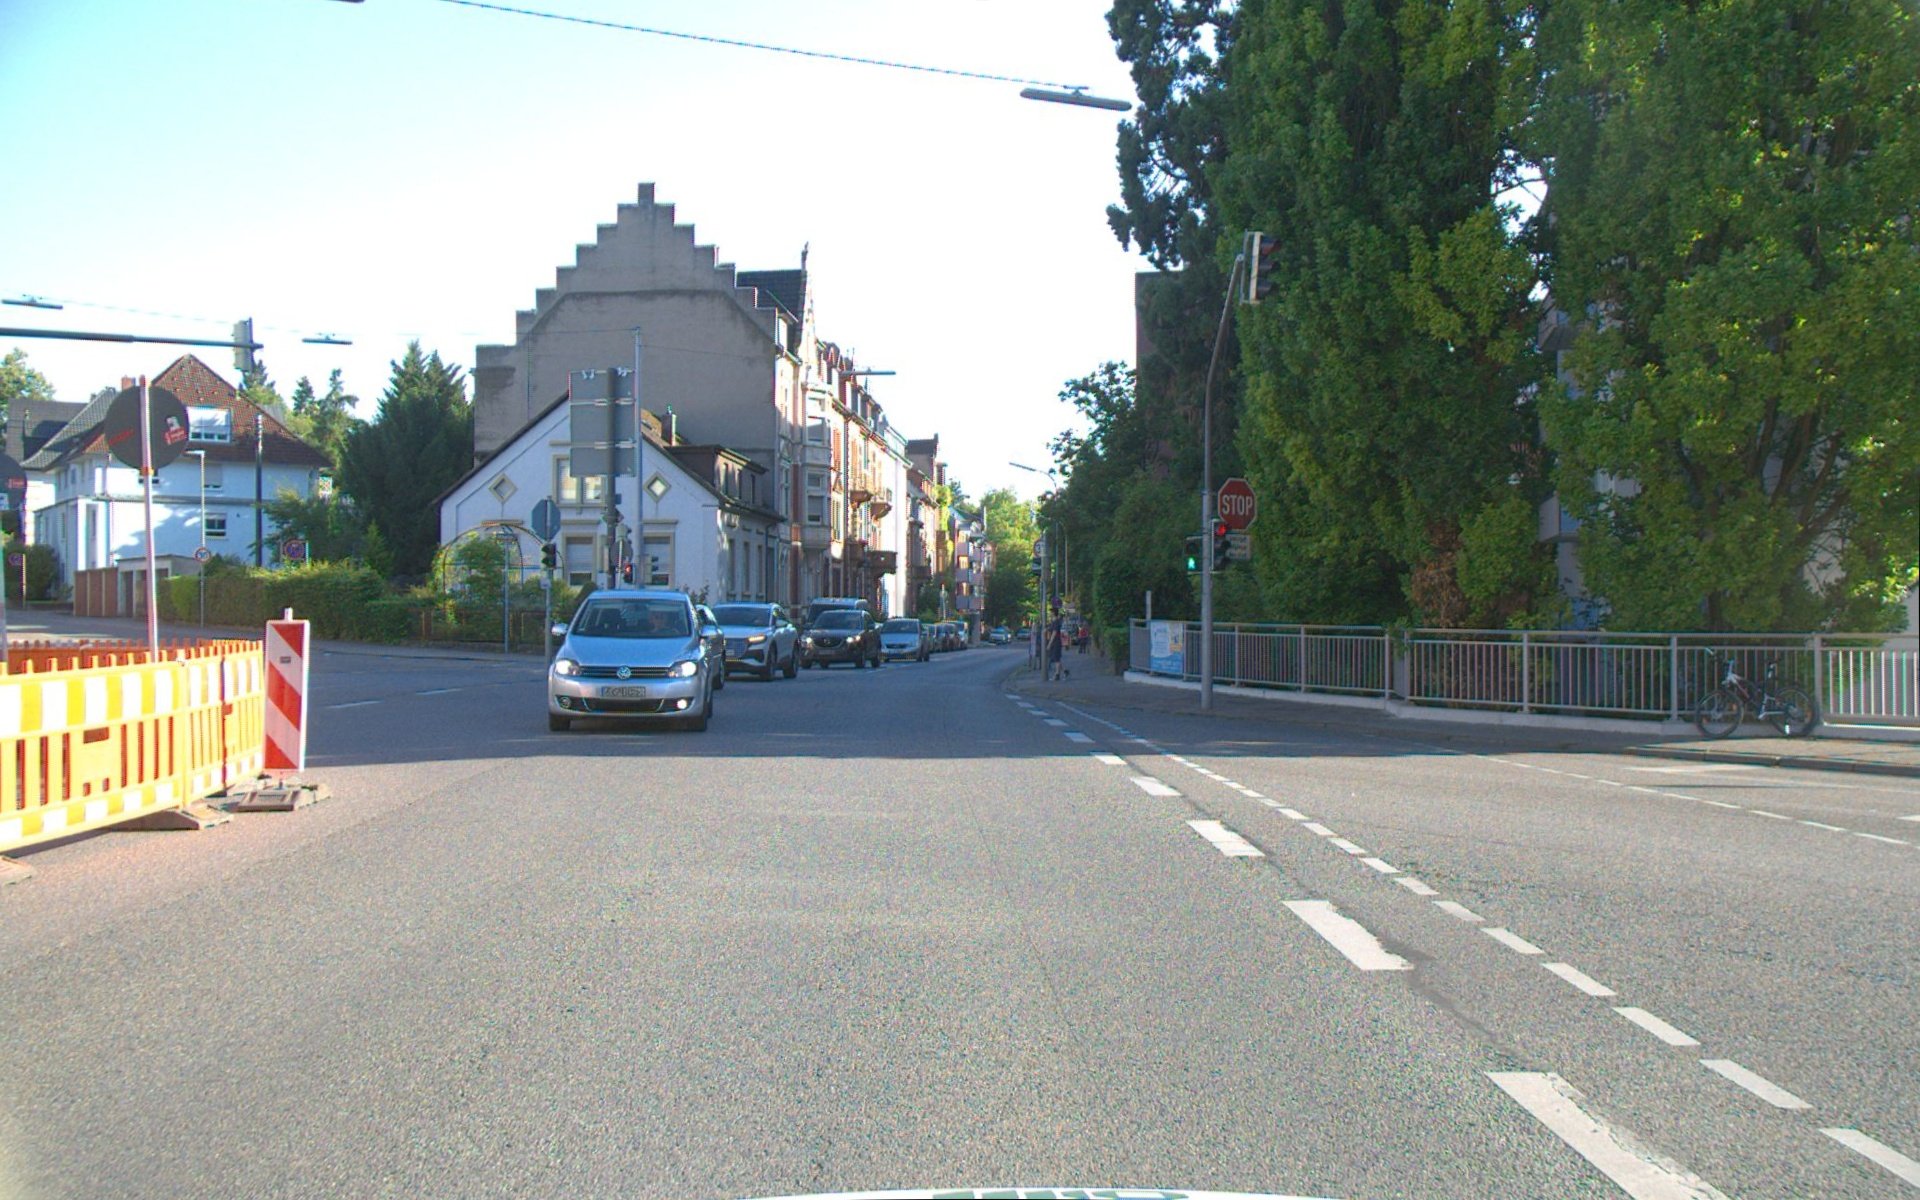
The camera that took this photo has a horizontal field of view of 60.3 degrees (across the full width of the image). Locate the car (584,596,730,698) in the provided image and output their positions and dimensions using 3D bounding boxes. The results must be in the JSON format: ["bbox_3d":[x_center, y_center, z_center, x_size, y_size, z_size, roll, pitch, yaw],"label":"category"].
[{"bbox_3d":[-4.865,0.706,27.046,1.740,1.506,4.094,1,0,-2],"label":"car"}]

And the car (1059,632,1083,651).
[{"bbox_3d":[9.726,3.643,144.353,1.951,1.544,4.003,-1,0,6],"label":"car"}]

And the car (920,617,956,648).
[{"bbox_3d":[-1.308,1.918,98.921,1.666,1.737,4.443,1,-1,5],"label":"car"}]

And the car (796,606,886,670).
[{"bbox_3d":[-3.385,1.053,47.766,1.912,1.677,4.286,1,0,5],"label":"car"}]

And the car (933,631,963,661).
[{"bbox_3d":[-0.749,2.911,105.481,1.667,1.769,3.858,1,-1,3],"label":"car"}]

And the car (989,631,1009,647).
[{"bbox_3d":[4.204,4.165,177.293,1.951,1.518,4.473,-1,0,4],"label":"car"}]

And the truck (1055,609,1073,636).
[{"bbox_3d":[11.689,2.555,185.508,1.951,2.947,4.472,-1,0,4],"label":"truck"}]

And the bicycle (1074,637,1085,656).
[{"bbox_3d":[6.464,2.509,89.145,0.554,0.987,0.492,1,0,2],"label":"bicycle"}]

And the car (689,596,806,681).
[{"bbox_3d":[-4.478,0.766,35.472,1.738,1.677,4.536,1,0,2],"label":"car"}]

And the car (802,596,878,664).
[{"bbox_3d":[-4.644,1.155,64.851,2.024,2.503,6.017,1,-1,5],"label":"car"}]

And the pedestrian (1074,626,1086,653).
[{"bbox_3d":[6.503,2.162,89.739,0.585,1.427,0.668,1,0,2],"label":"pedestrian"}]

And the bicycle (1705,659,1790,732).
[{"bbox_3d":[10.375,1.247,21.780,1.272,0.919,0.405,1,0,-33],"label":"bicycle"}]

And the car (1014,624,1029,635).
[{"bbox_3d":[9.042,4.298,243.615,1.951,1.518,4.473,-1,0,4],"label":"car"}]

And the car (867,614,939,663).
[{"bbox_3d":[-2.054,1.385,60.860,1.912,1.677,4.287,1,0,8],"label":"car"}]

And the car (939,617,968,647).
[{"bbox_3d":[-0.430,2.248,116.171,1.755,2.046,4.699,1,-1,3],"label":"car"}]

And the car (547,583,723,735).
[{"bbox_3d":[-3.718,0.616,19.485,1.742,1.570,3.993,1,0,-8],"label":"car"}]

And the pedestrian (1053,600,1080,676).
[{"bbox_3d":[2.464,0.873,38.259,0.589,1.723,0.612,-1,0,3],"label":"pedestrian"}]
